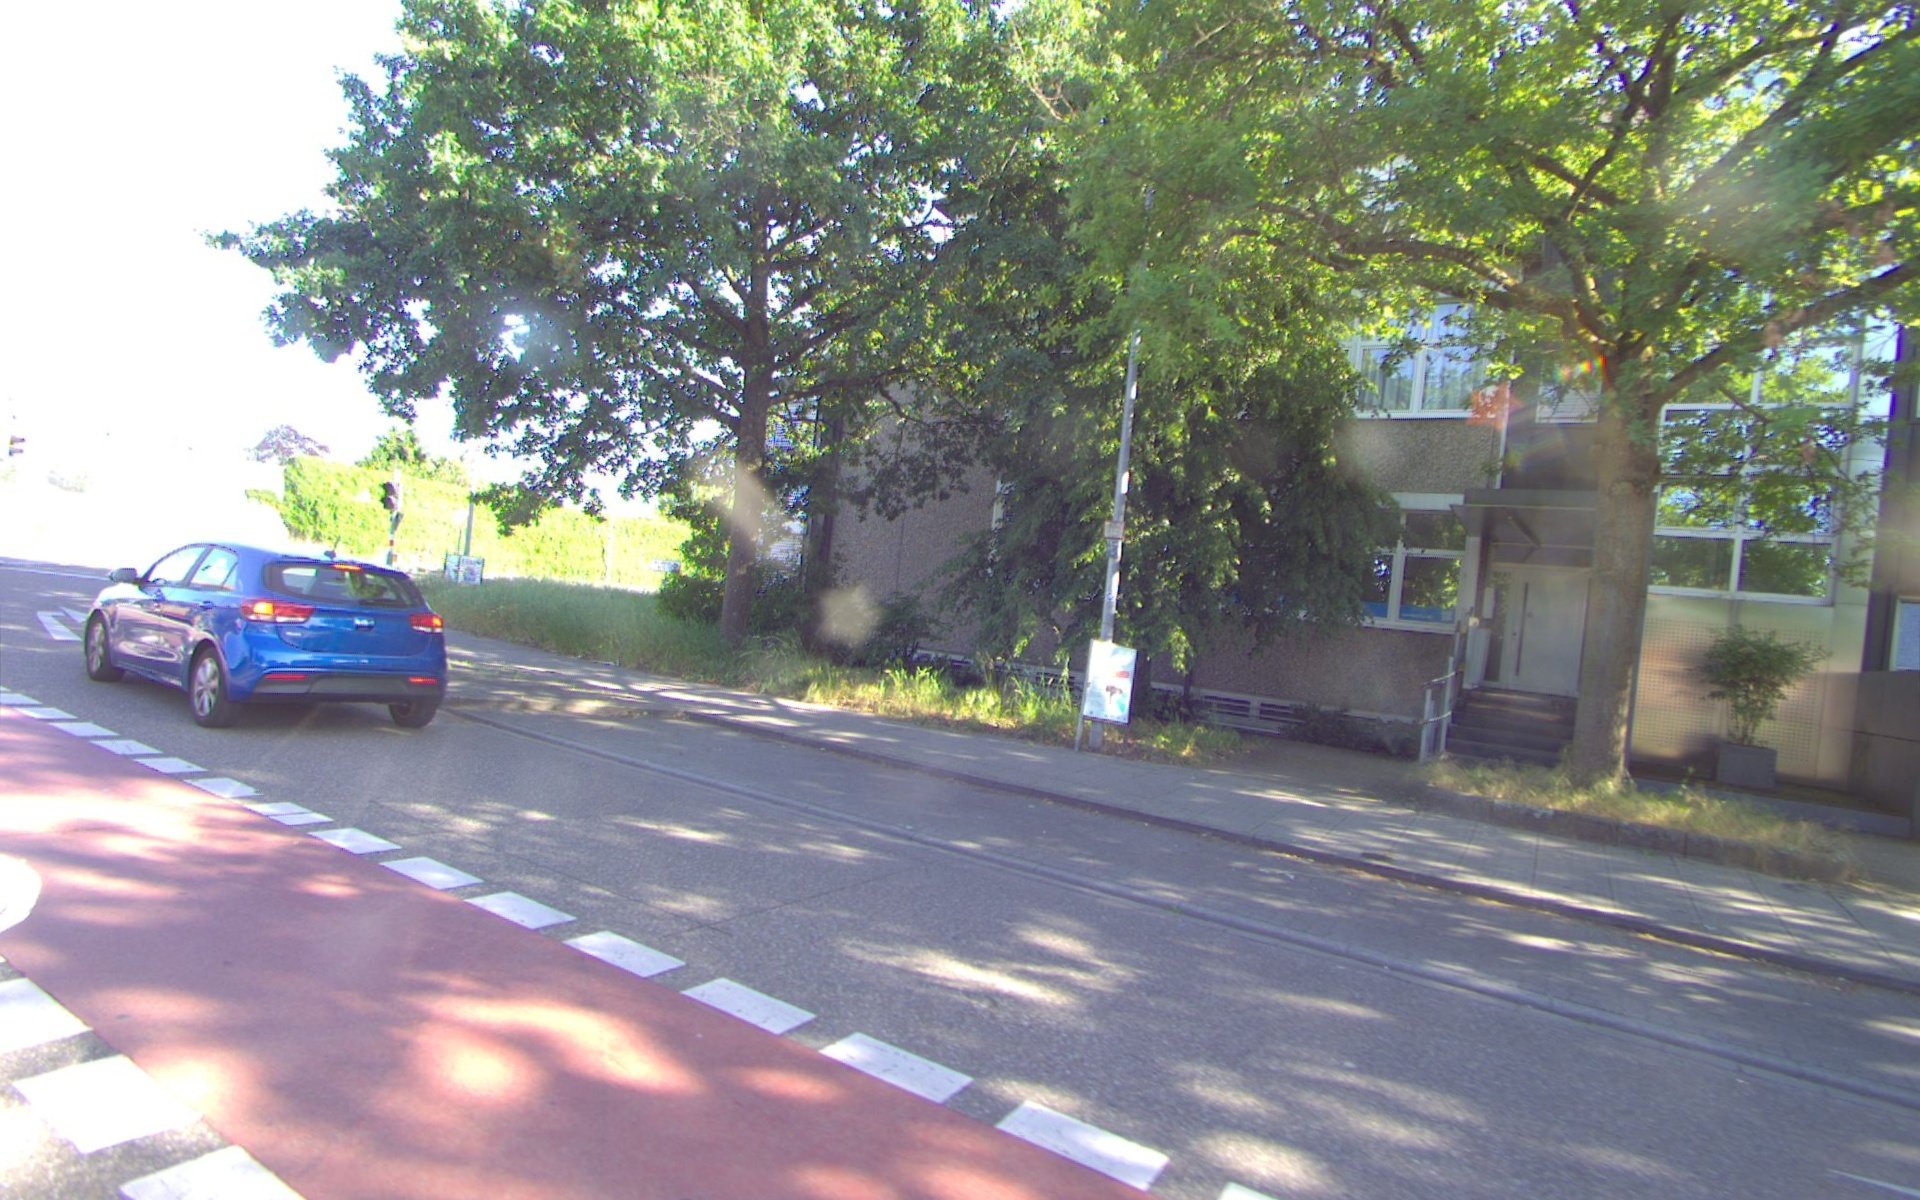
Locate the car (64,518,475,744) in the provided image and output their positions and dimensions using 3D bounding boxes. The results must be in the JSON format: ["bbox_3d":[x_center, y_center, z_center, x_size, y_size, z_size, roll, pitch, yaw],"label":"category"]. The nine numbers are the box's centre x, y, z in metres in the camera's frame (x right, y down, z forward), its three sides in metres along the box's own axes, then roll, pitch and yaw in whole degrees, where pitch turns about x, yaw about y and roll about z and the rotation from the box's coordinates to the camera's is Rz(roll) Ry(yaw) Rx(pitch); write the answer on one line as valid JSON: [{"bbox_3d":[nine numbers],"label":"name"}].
[{"bbox_3d":[-6.297,0.214,9.048,3.878,1.486,1.651,6,-2,34],"label":"car"}]

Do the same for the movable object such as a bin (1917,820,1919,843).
[{"bbox_3d":[11.311,2.296,11.306,0.575,1.070,0.625,6,0,30],"label":"movable object such as a bin"}]
